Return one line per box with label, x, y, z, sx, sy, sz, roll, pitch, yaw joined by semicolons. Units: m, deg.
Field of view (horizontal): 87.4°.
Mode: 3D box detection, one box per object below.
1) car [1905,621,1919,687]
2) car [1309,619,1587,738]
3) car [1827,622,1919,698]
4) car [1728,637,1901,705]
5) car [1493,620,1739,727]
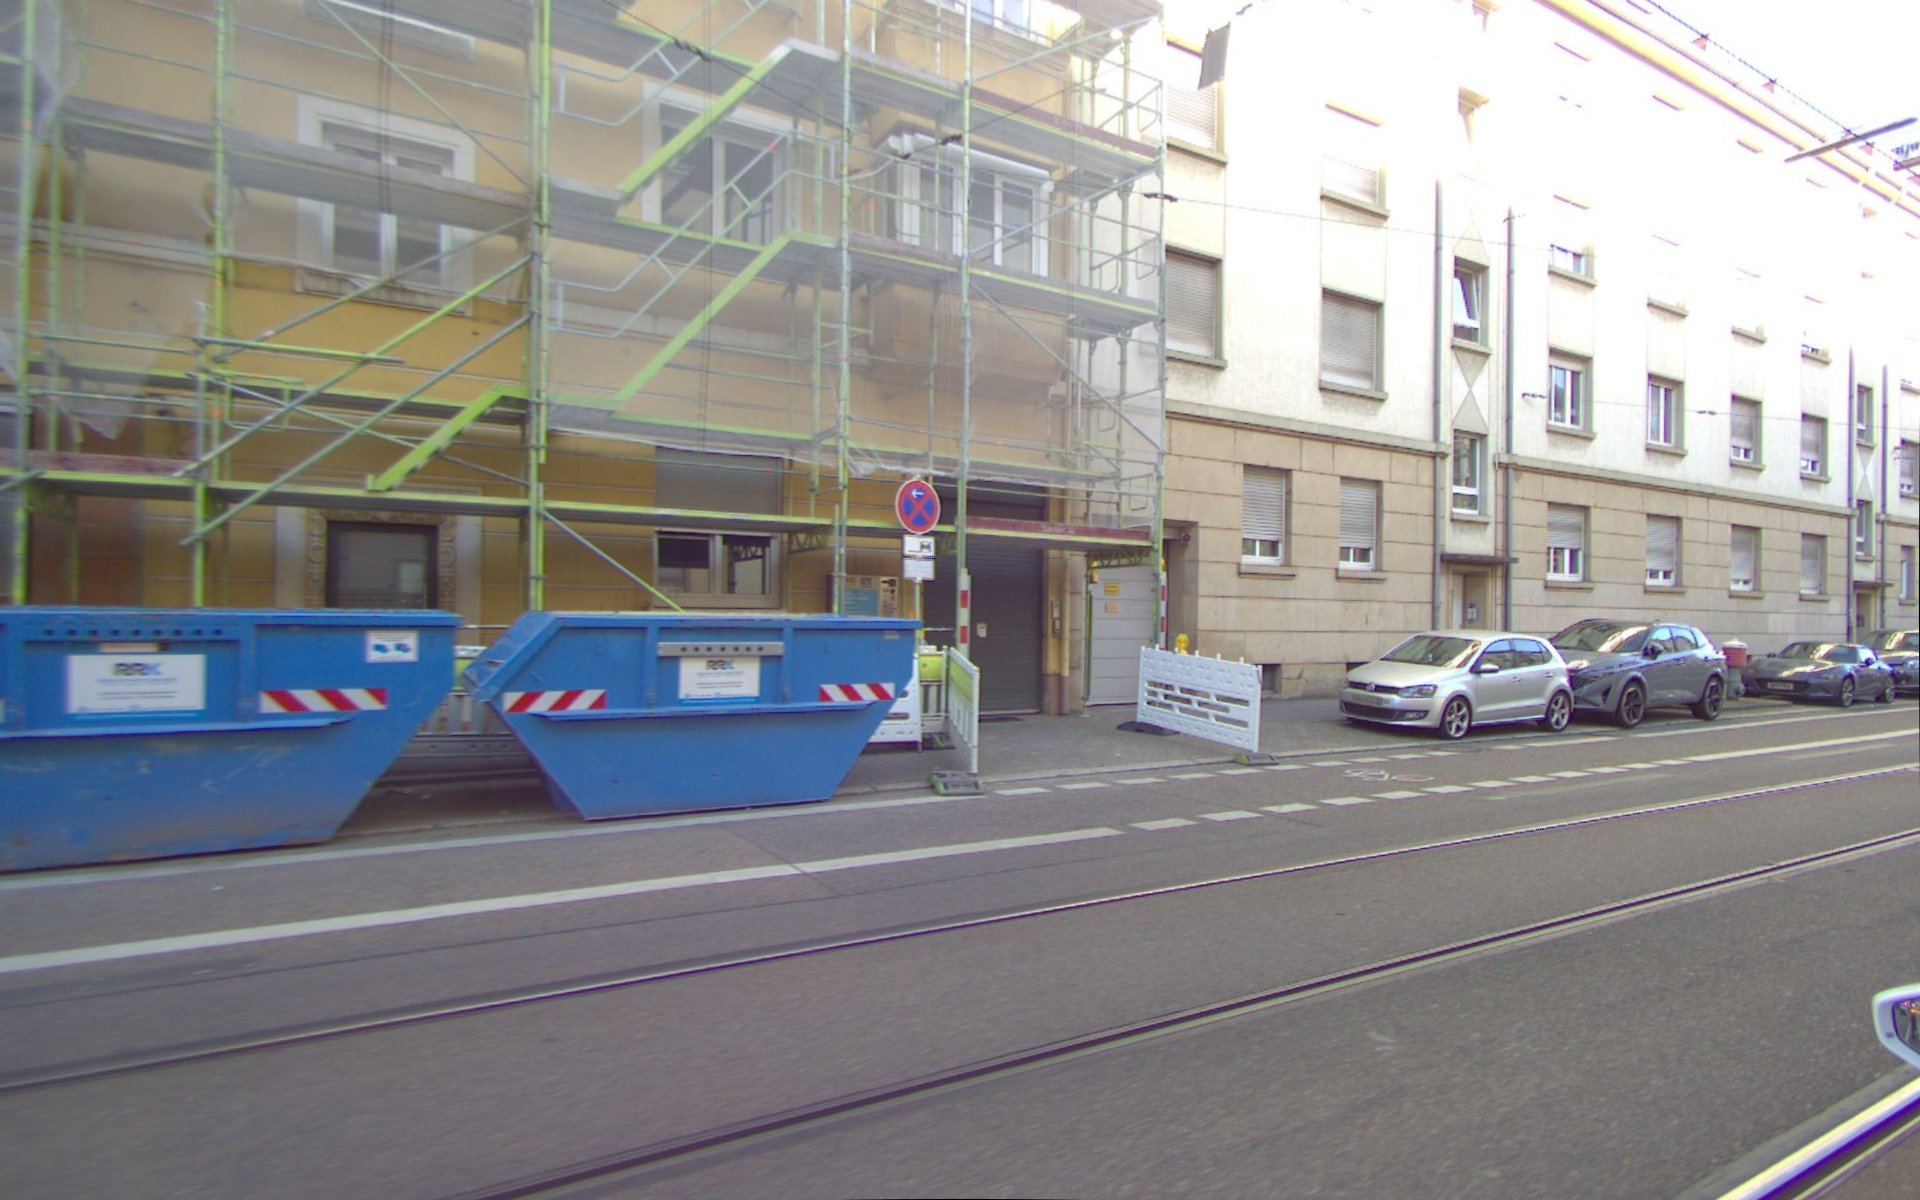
car;26.053;1.432;25.611;4.193;1.637;1.691;2;0;-30
car;7.173;1.088;14.694;3.953;1.435;1.691;2;2;-30
car;22.342;1.391;23.653;3.953;1.590;1.691;2;0;-30
car;17.987;1.452;21.120;3.743;1.232;1.690;2;0;-32
car;11.071;1.148;16.881;4.353;1.588;1.691;1;-1;-30
